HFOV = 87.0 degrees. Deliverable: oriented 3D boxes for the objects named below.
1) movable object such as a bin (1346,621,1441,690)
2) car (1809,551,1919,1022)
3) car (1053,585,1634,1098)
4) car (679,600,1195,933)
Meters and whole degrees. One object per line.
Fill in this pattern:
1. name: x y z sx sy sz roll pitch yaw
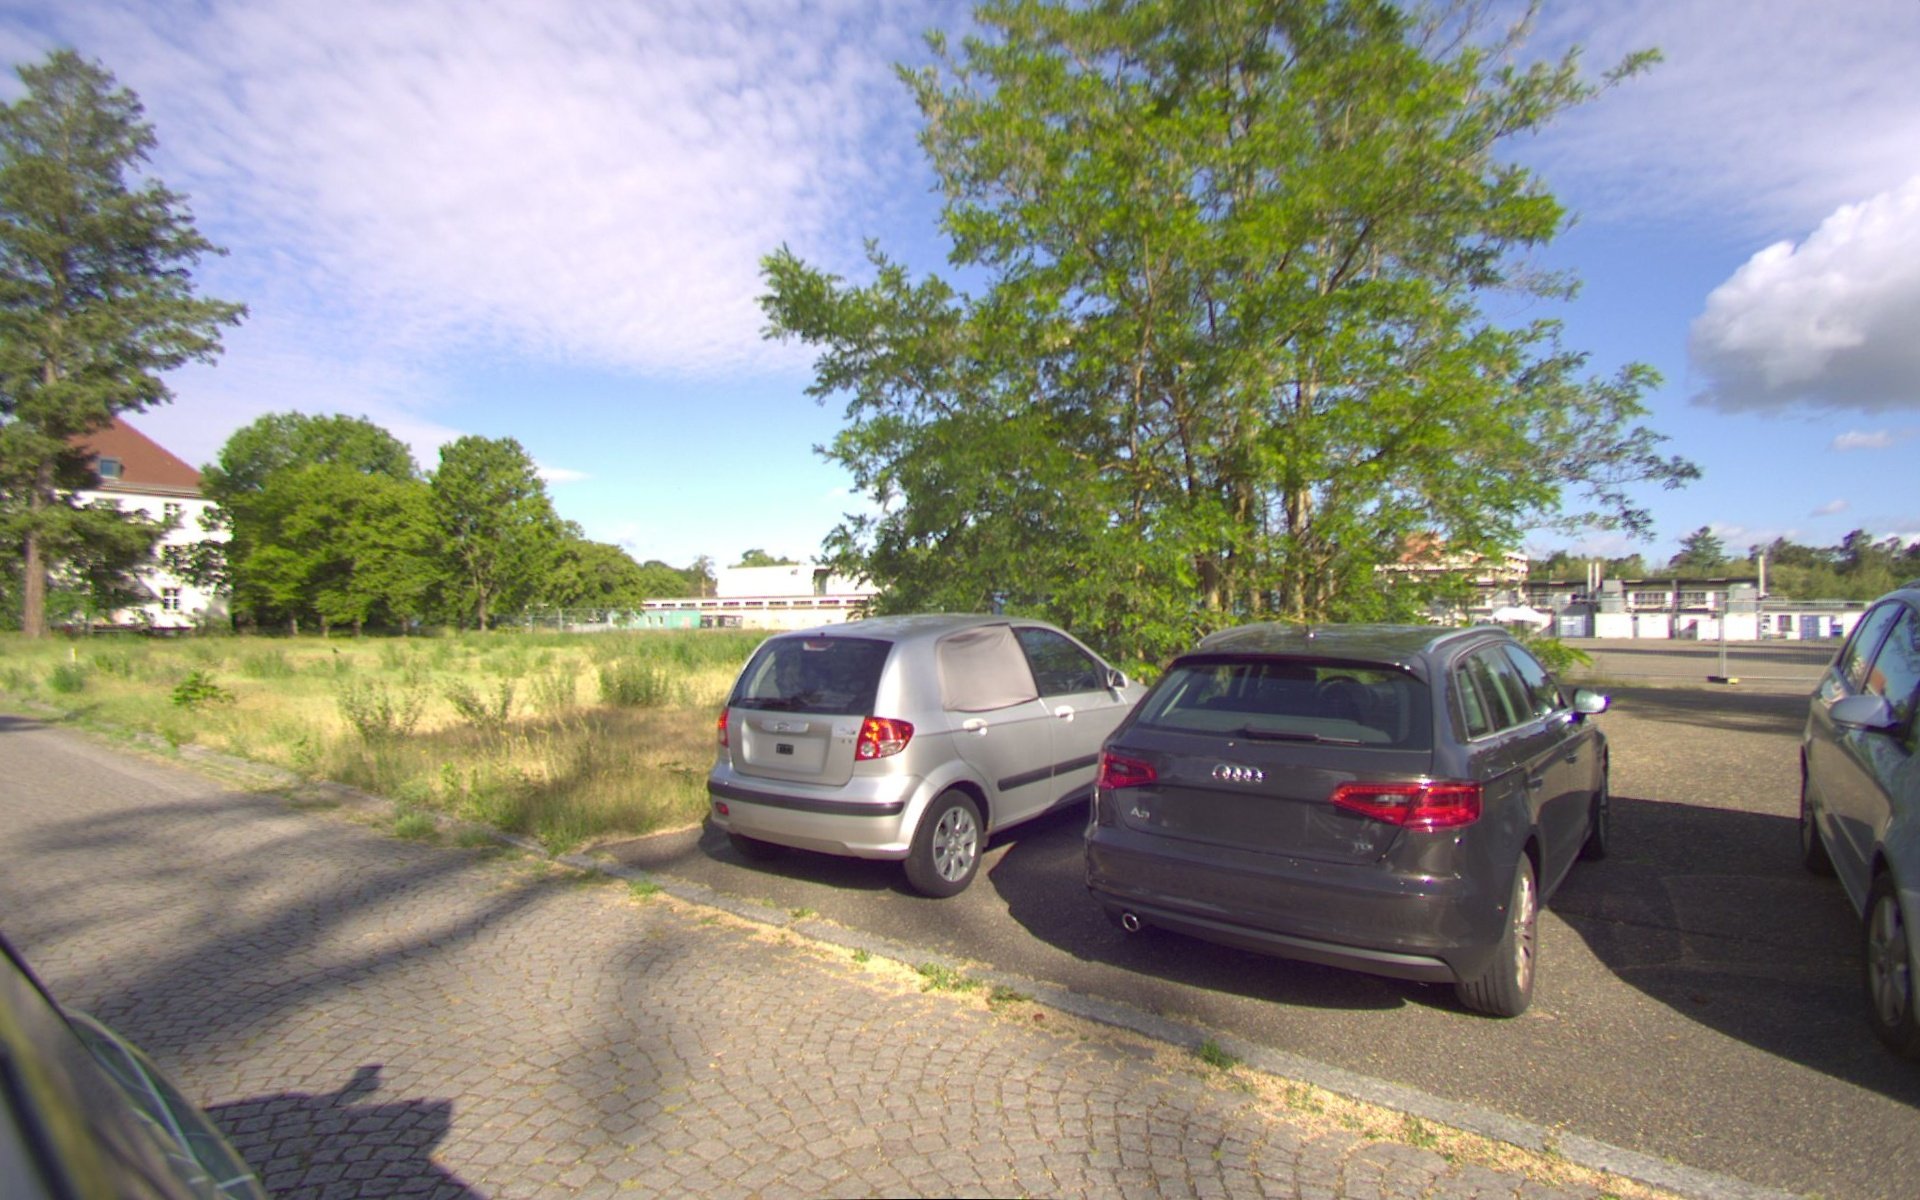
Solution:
1. movable object such as a bin: 7.561 0.929 17.577 0.996 1.116 2.257 -1 -2 37
2. car: 4.516 0.614 3.738 1.718 1.638 3.910 -1 1 35
3. car: 2.204 0.723 5.077 1.685 1.482 3.761 -1 1 38
4. car: 0.074 0.802 6.695 1.633 1.482 3.434 -1 1 37
